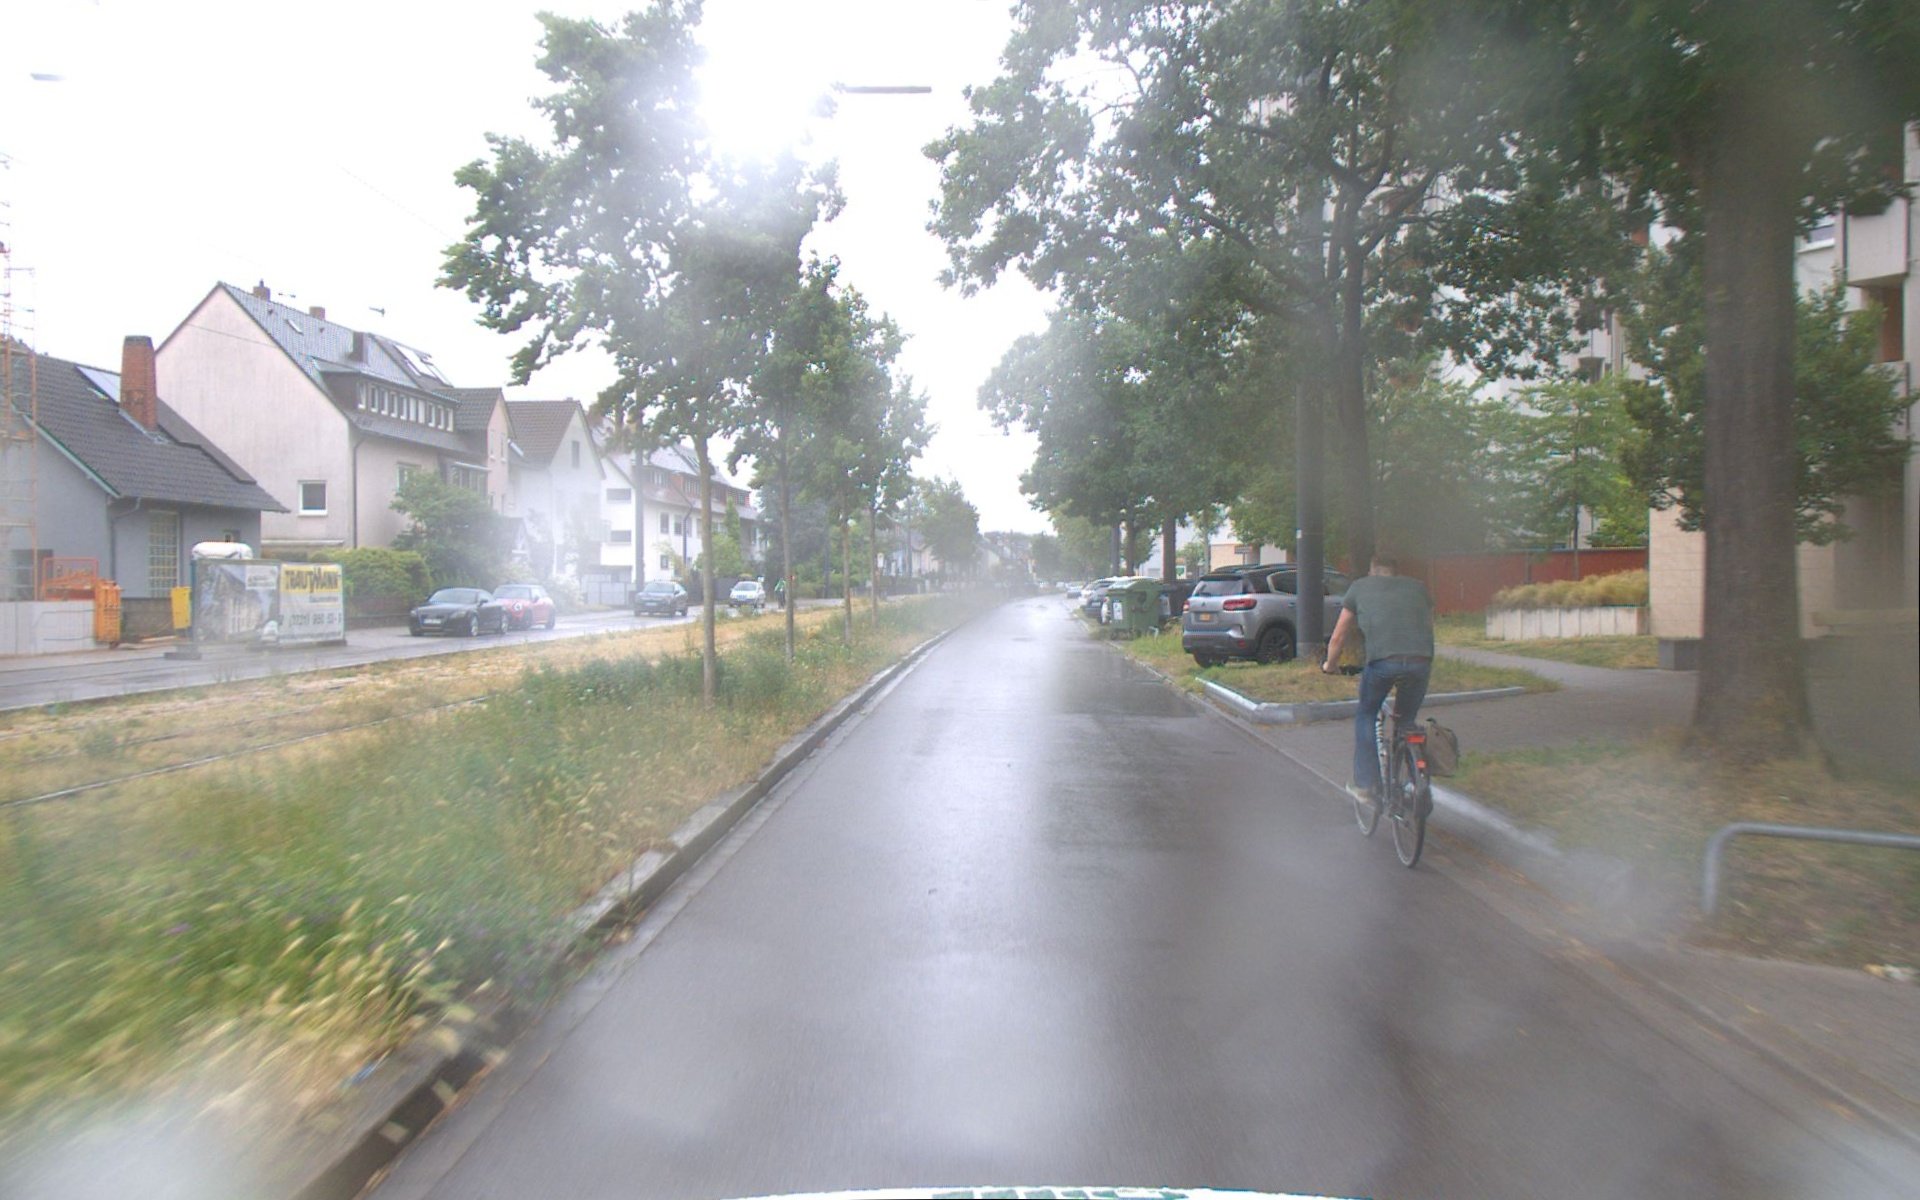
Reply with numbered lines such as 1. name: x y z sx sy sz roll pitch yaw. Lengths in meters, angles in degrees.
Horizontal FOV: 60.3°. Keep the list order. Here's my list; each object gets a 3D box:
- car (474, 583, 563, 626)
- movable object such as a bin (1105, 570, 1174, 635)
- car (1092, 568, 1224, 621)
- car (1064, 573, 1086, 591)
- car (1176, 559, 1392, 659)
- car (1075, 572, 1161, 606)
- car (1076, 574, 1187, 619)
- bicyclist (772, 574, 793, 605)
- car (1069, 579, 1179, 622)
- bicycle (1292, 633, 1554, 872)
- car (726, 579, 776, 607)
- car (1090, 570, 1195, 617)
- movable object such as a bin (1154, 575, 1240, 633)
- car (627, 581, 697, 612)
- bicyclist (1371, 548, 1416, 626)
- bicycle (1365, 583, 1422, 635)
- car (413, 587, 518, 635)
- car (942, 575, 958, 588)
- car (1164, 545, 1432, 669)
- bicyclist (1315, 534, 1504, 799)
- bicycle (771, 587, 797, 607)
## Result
1. car: -14.117 0.128 53.031 1.640 1.266 3.856 2 1 3
2. movable object such as a bin: 4.471 0.050 41.209 1.109 1.482 1.393 -6 3 -19
3. car: 6.163 -0.191 51.327 3.990 1.545 1.568 -1 1 -33
4. car: 10.293 -1.611 148.405 1.795 1.614 4.001 -1 1 2
5. car: 6.010 0.131 30.517 3.842 1.594 1.711 -4 2 -35
6. car: 7.495 -0.522 78.341 3.994 1.539 1.566 -1 1 -35
7. car: 5.946 -0.143 56.973 4.007 1.468 1.561 -1 1 -42
8. bicyclist: -10.109 -0.600 94.166 0.997 1.715 1.092 -1 1 2
9. car: 6.035 -0.001 60.848 3.994 1.468 1.566 -1 1 -35
10. bicycle: 2.611 0.803 9.683 0.793 1.116 2.517 -1 1 -1
11. car: -12.106 -0.434 96.091 1.856 1.495 4.690 2 1 5
12. car: 7.066 -0.257 63.906 3.994 1.733 1.566 -1 1 -35
13. movable object such as a bin: 5.924 0.080 41.479 1.656 1.349 1.393 -3 1 -19
14. car: -13.236 -0.185 73.743 1.856 1.266 4.690 2 1 5
15. bicyclist: 9.280 -0.282 35.414 0.719 1.621 0.945 -1 1 1
16. bicycle: 9.284 0.179 35.492 0.719 1.075 2.051 -1 1 1
17. car: -14.244 0.288 47.846 1.629 1.266 4.073 2 1 2
18. car: -1.287 -2.426 214.514 1.804 1.701 4.001 -1 1 2
19. car: 5.649 0.073 27.547 4.093 1.749 1.980 -4 2 -31
20. bicyclist: 2.608 0.362 9.699 0.793 1.458 1.060 -1 1 -1
21. bicycle: -10.089 -0.180 94.924 0.997 1.045 3.198 -1 1 2
